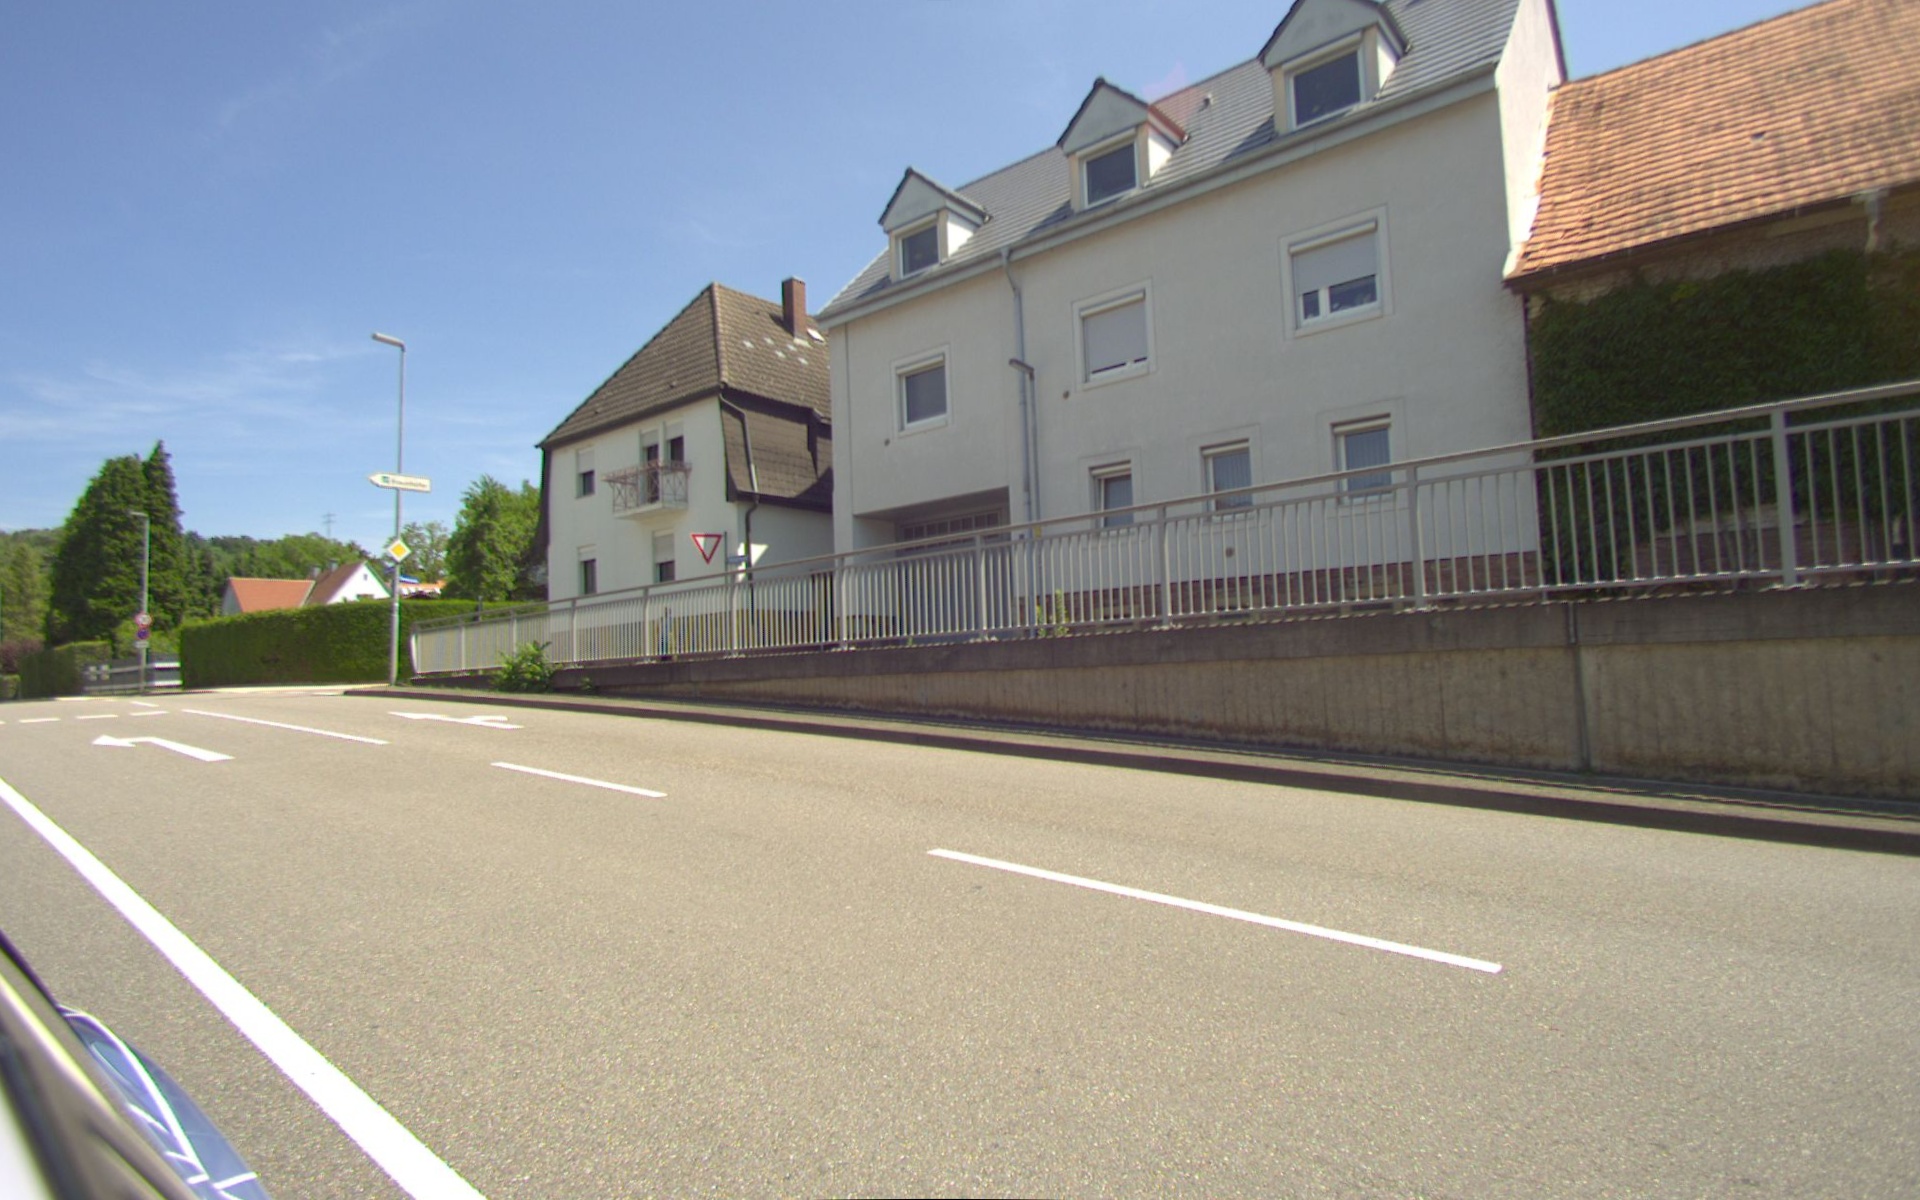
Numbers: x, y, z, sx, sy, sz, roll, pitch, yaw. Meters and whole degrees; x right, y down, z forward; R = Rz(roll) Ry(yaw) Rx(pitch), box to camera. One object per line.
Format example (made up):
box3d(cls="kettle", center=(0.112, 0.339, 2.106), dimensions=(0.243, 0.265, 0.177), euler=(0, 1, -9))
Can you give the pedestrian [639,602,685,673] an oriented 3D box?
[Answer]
box3d(cls="pedestrian", center=(-7.445, 0.924, 25.294), dimensions=(0.855, 1.742, 0.720), euler=(-2, -2, 38))
